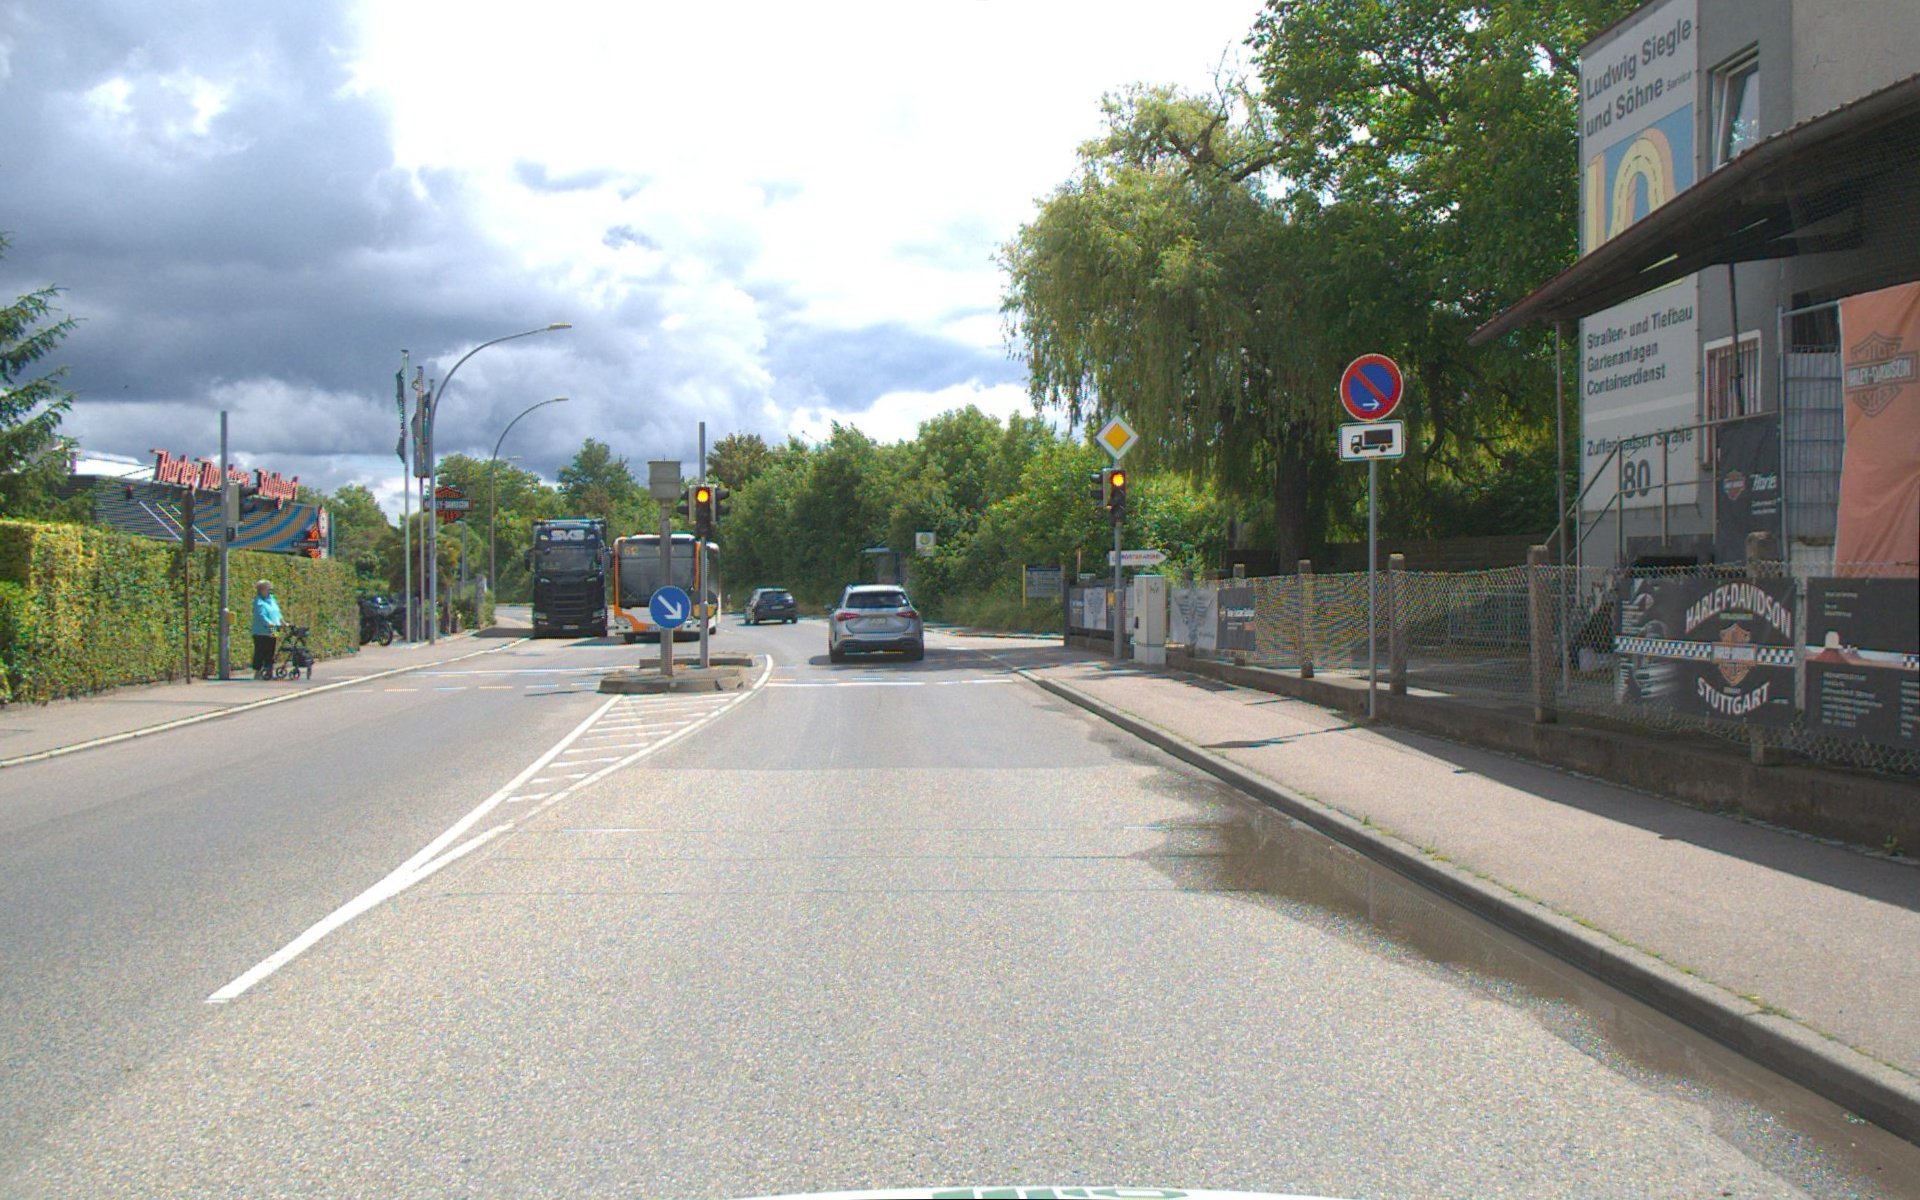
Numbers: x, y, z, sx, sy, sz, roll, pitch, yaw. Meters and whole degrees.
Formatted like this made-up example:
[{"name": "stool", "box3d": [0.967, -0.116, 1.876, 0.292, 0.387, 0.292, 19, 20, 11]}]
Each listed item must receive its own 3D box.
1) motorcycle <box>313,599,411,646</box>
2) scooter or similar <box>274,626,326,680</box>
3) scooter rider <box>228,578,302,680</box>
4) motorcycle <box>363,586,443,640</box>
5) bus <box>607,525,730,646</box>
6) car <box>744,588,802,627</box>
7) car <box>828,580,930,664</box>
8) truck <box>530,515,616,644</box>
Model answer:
[{"name": "motorcycle", "box3d": [-16.119, 0.602, 44.577, 2.447, 1.239, 0.927, 0, -1, 18]}, {"name": "scooter or similar", "box3d": [-10.727, 0.853, 26.897, 0.599, 0.846, 0.659, 1, 0, -4]}, {"name": "scooter rider", "box3d": [-11.290, 0.467, 26.883, 0.861, 1.617, 0.795, 1, 0, -5]}, {"name": "motorcycle", "box3d": [-17.894, 0.421, 53.135, 2.254, 1.713, 1.042, 0, -1, 18]}, {"name": "bus", "box3d": [-9.012, -0.441, 52.407, 2.723, 3.323, 12.110, -2, 0, -5]}, {"name": "car", "box3d": [-7.641, 0.289, 67.253, 1.853, 1.534, 3.985, 0, 0, -14]}, {"name": "car", "box3d": [-1.650, 0.386, 32.541, 1.848, 1.534, 3.996, 0, 0, -5]}, {"name": "truck", "box3d": [-13.786, -0.675, 59.423, 2.385, 4.203, 9.128, 1, 0, -10]}]
